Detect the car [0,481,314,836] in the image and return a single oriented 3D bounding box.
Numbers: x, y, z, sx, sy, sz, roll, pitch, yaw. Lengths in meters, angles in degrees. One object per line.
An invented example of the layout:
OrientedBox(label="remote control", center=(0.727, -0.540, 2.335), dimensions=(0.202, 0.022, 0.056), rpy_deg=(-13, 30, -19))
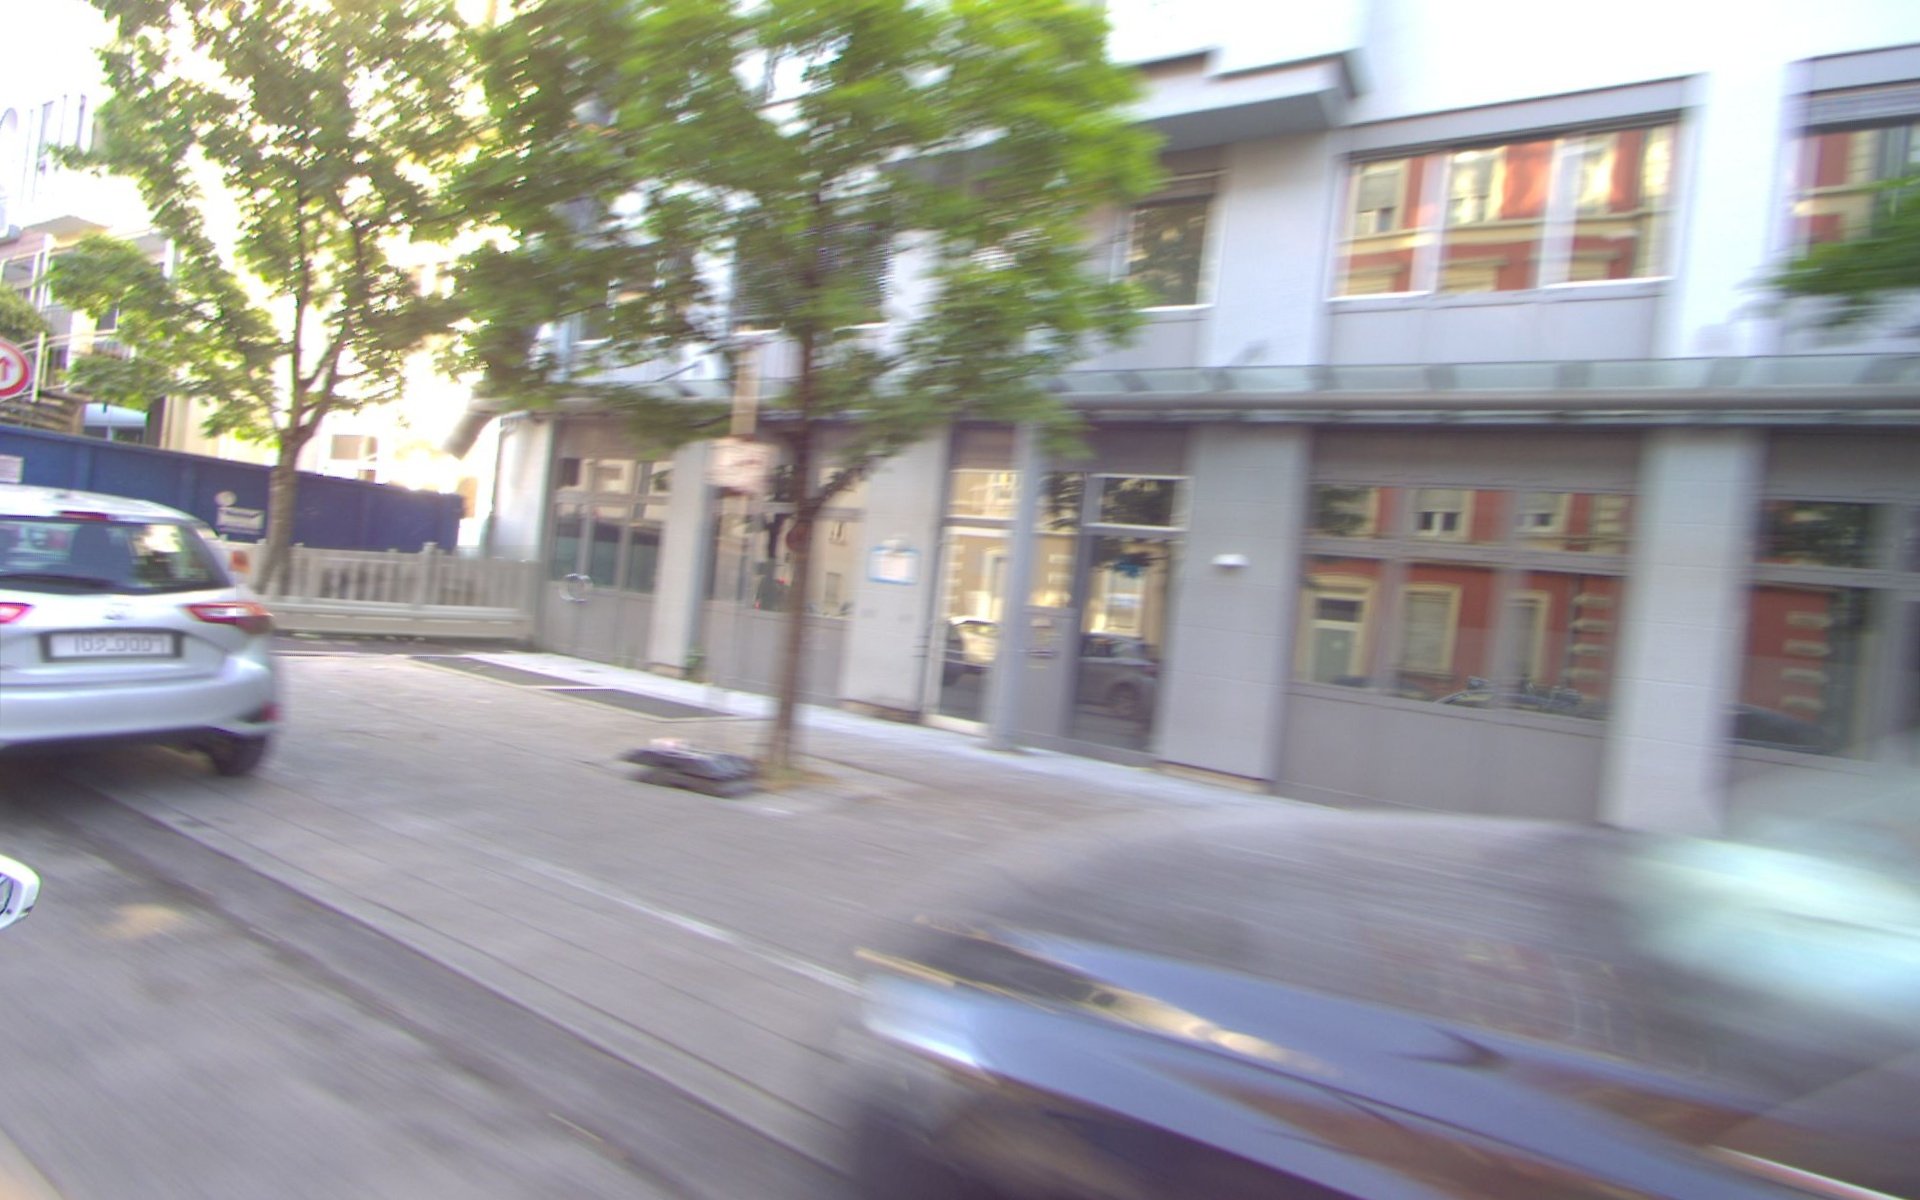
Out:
OrientedBox(label="car", center=(-5.594, 0.114, 5.728), dimensions=(3.906, 1.544, 1.677), rpy_deg=(6, 0, 33))

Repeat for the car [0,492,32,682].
OrientedBox(label="car", center=(-9.421, -0.300, 8.350), dimensions=(3.670, 1.494, 1.677), rpy_deg=(6, 0, 34))

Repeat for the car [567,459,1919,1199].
OrientedBox(label="car", center=(1.760, 0.857, 1.188), dimensions=(4.361, 1.643, 1.887), rpy_deg=(6, 0, 32))
